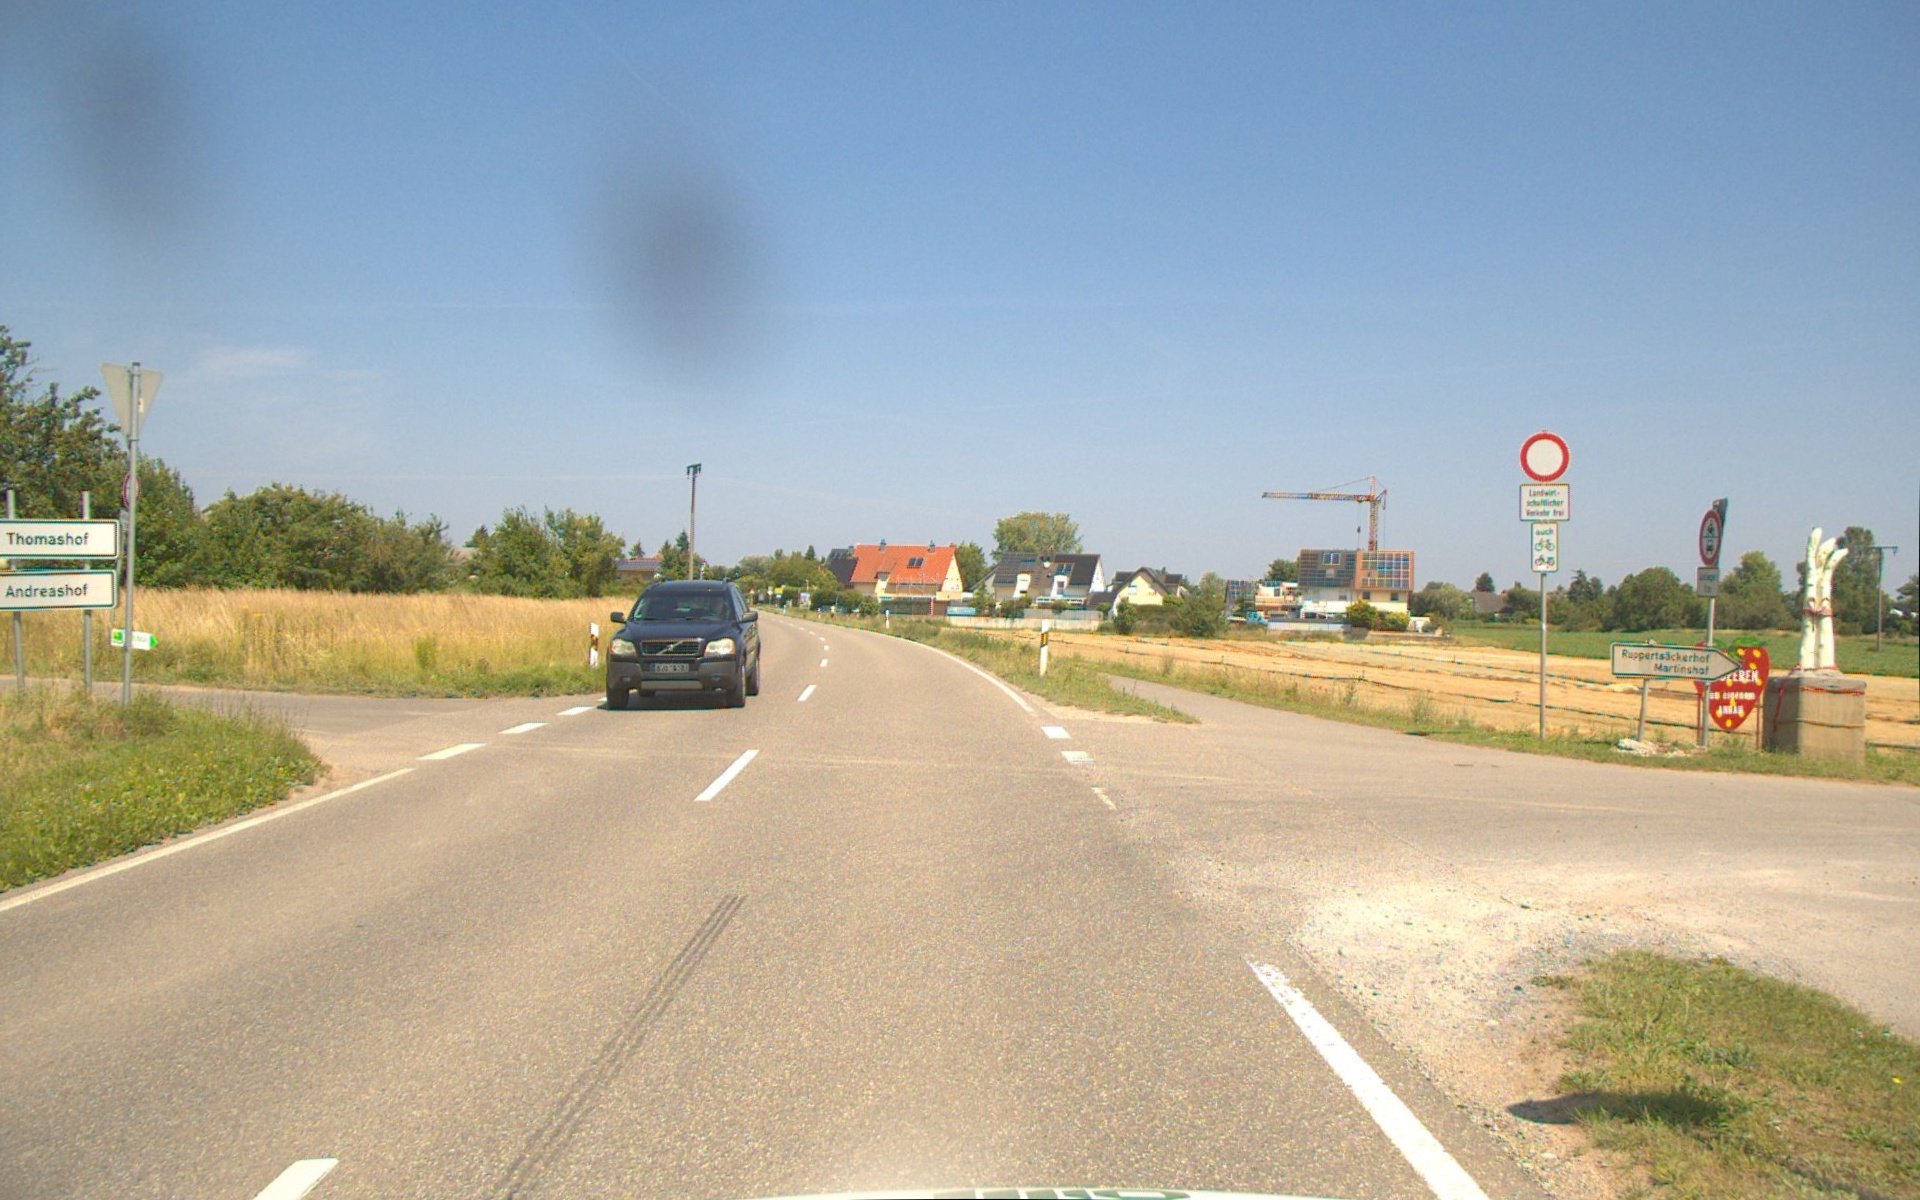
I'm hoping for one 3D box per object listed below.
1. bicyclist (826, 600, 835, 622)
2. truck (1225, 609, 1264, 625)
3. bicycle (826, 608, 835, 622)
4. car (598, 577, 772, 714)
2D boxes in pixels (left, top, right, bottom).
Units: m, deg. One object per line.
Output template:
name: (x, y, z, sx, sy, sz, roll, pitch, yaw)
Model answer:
bicyclist: (-11.901, 1.008, 152.390, 0.633, 1.922, 0.859, 3, 0, -10)
truck: (41.552, 2.538, 241.746, 5.436, 2.269, 2.216, 1, -1, 15)
bicycle: (-11.938, 1.387, 152.507, 0.599, 1.179, 2.269, 3, 0, -10)
car: (-3.886, 0.592, 24.181, 1.895, 1.782, 5.201, 0, 0, -3)
